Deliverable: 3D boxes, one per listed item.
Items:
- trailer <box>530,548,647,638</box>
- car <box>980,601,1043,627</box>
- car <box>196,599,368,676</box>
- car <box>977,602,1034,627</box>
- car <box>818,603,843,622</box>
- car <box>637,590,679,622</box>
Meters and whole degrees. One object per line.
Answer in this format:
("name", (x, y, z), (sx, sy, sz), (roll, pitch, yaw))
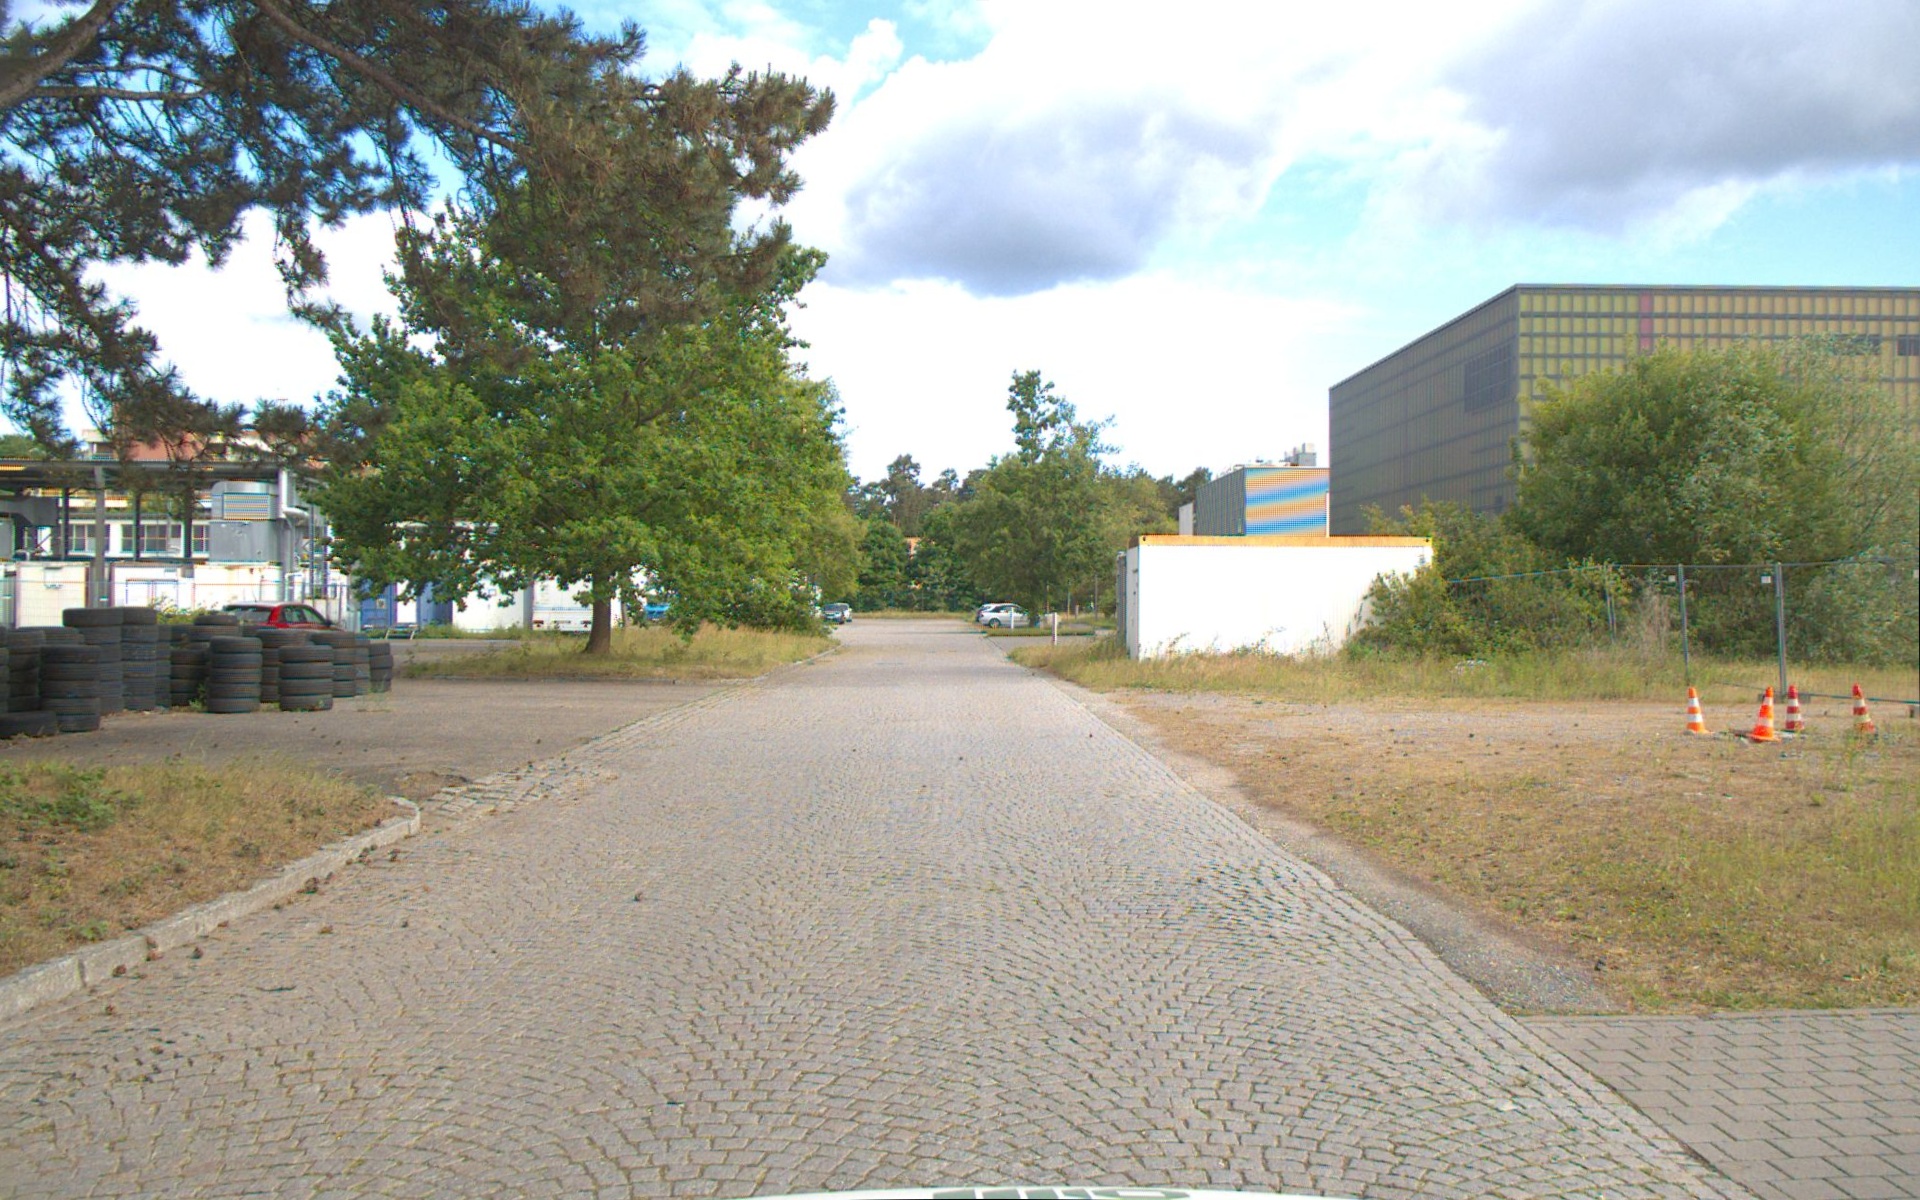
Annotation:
("trailer", (-16.005, -0.271, 72.060), (2.571, 3.661, 10.178), (0, 0, 1))
("car", (3.286, 0.895, 105.298), (3.903, 1.473, 1.653), (-2, 0, -1))
("car", (-13.827, 0.715, 33.978), (1.591, 1.458, 4.066), (0, 0, 4))
("car", (2.796, 0.892, 102.594), (3.451, 1.386, 1.622), (-2, 0, -1))
("car", (-9.697, 0.924, 123.910), (1.614, 1.393, 3.997), (0, 0, -1))
("car", (-20.351, 0.401, 111.677), (1.953, 2.049, 4.766), (0, 0, 0))
